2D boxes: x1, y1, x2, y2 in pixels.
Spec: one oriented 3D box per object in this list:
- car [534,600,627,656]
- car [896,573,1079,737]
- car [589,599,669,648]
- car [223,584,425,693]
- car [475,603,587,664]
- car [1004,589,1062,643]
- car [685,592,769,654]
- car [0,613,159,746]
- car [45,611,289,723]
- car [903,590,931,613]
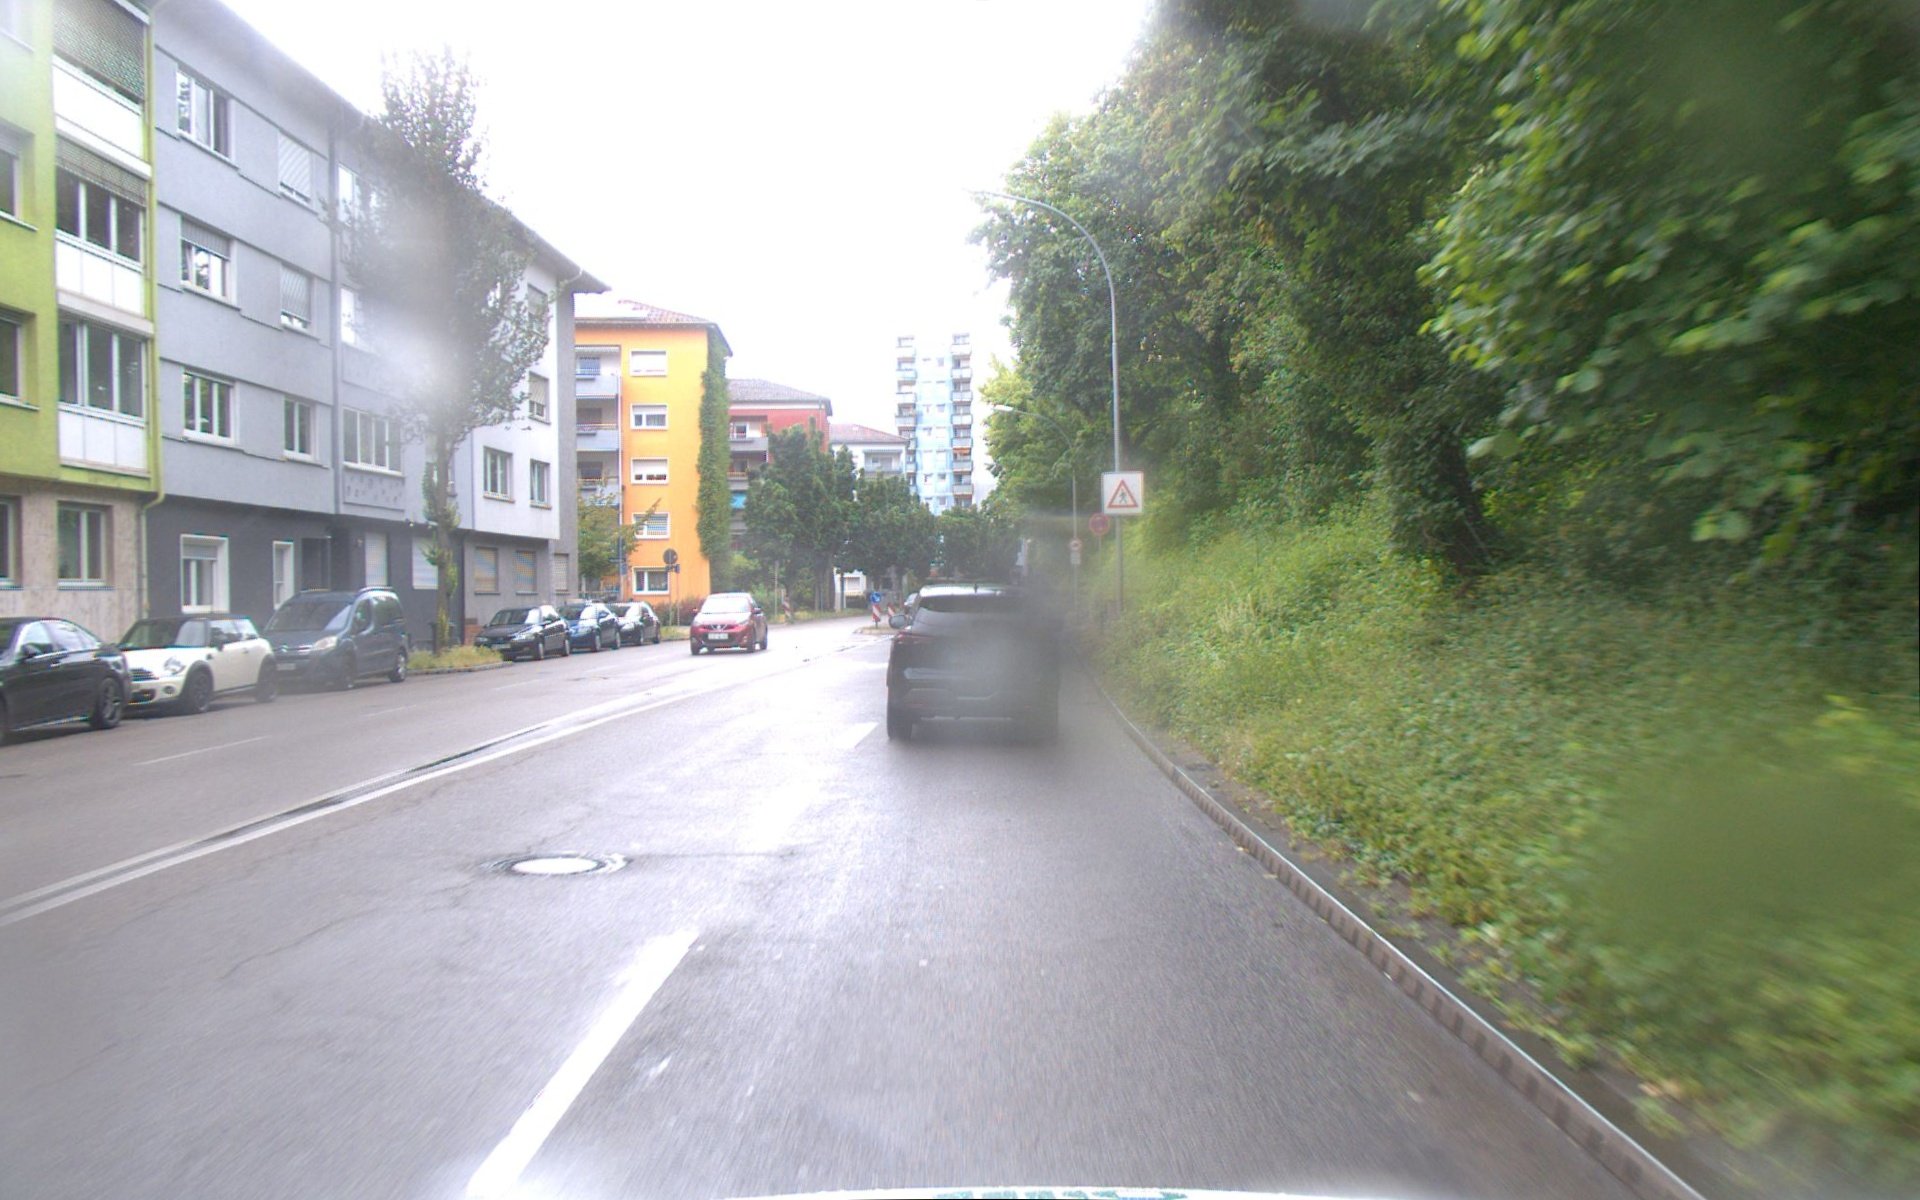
[{"bbox_3d":[-11.233,0.802,49.247,1.646,1.474,4.276,-4,0,1],"label":"car"},{"bbox_3d":[0.301,0.534,18.363,1.807,1.610,4.000,0,0,1],"label":"car"},{"bbox_3d":[-11.047,0.754,55.425,1.677,1.450,4.323,-3,0,1],"label":"car"},{"bbox_3d":[-11.609,0.655,30.544,1.852,1.797,4.601,-2,0,1],"label":"car"},{"bbox_3d":[-11.255,0.838,43.665,1.654,1.381,4.579,-4,0,0],"label":"car"},{"bbox_3d":[2.406,0.516,55.227,1.848,1.741,4.001,0,0,1],"label":"car"},{"bbox_3d":[-6.067,0.586,43.433,1.672,1.504,3.679,-2,0,-1],"label":"car"},{"bbox_3d":[-11.360,0.921,19.389,1.781,1.396,4.678,-3,0,-3],"label":"car"},{"bbox_3d":[-11.602,0.925,24.505,1.646,1.400,3.999,-3,0,-1],"label":"car"},{"bbox_3d":[-3.026,0.107,117.661,1.751,1.530,4.649,-2,0,0],"label":"car"}]
